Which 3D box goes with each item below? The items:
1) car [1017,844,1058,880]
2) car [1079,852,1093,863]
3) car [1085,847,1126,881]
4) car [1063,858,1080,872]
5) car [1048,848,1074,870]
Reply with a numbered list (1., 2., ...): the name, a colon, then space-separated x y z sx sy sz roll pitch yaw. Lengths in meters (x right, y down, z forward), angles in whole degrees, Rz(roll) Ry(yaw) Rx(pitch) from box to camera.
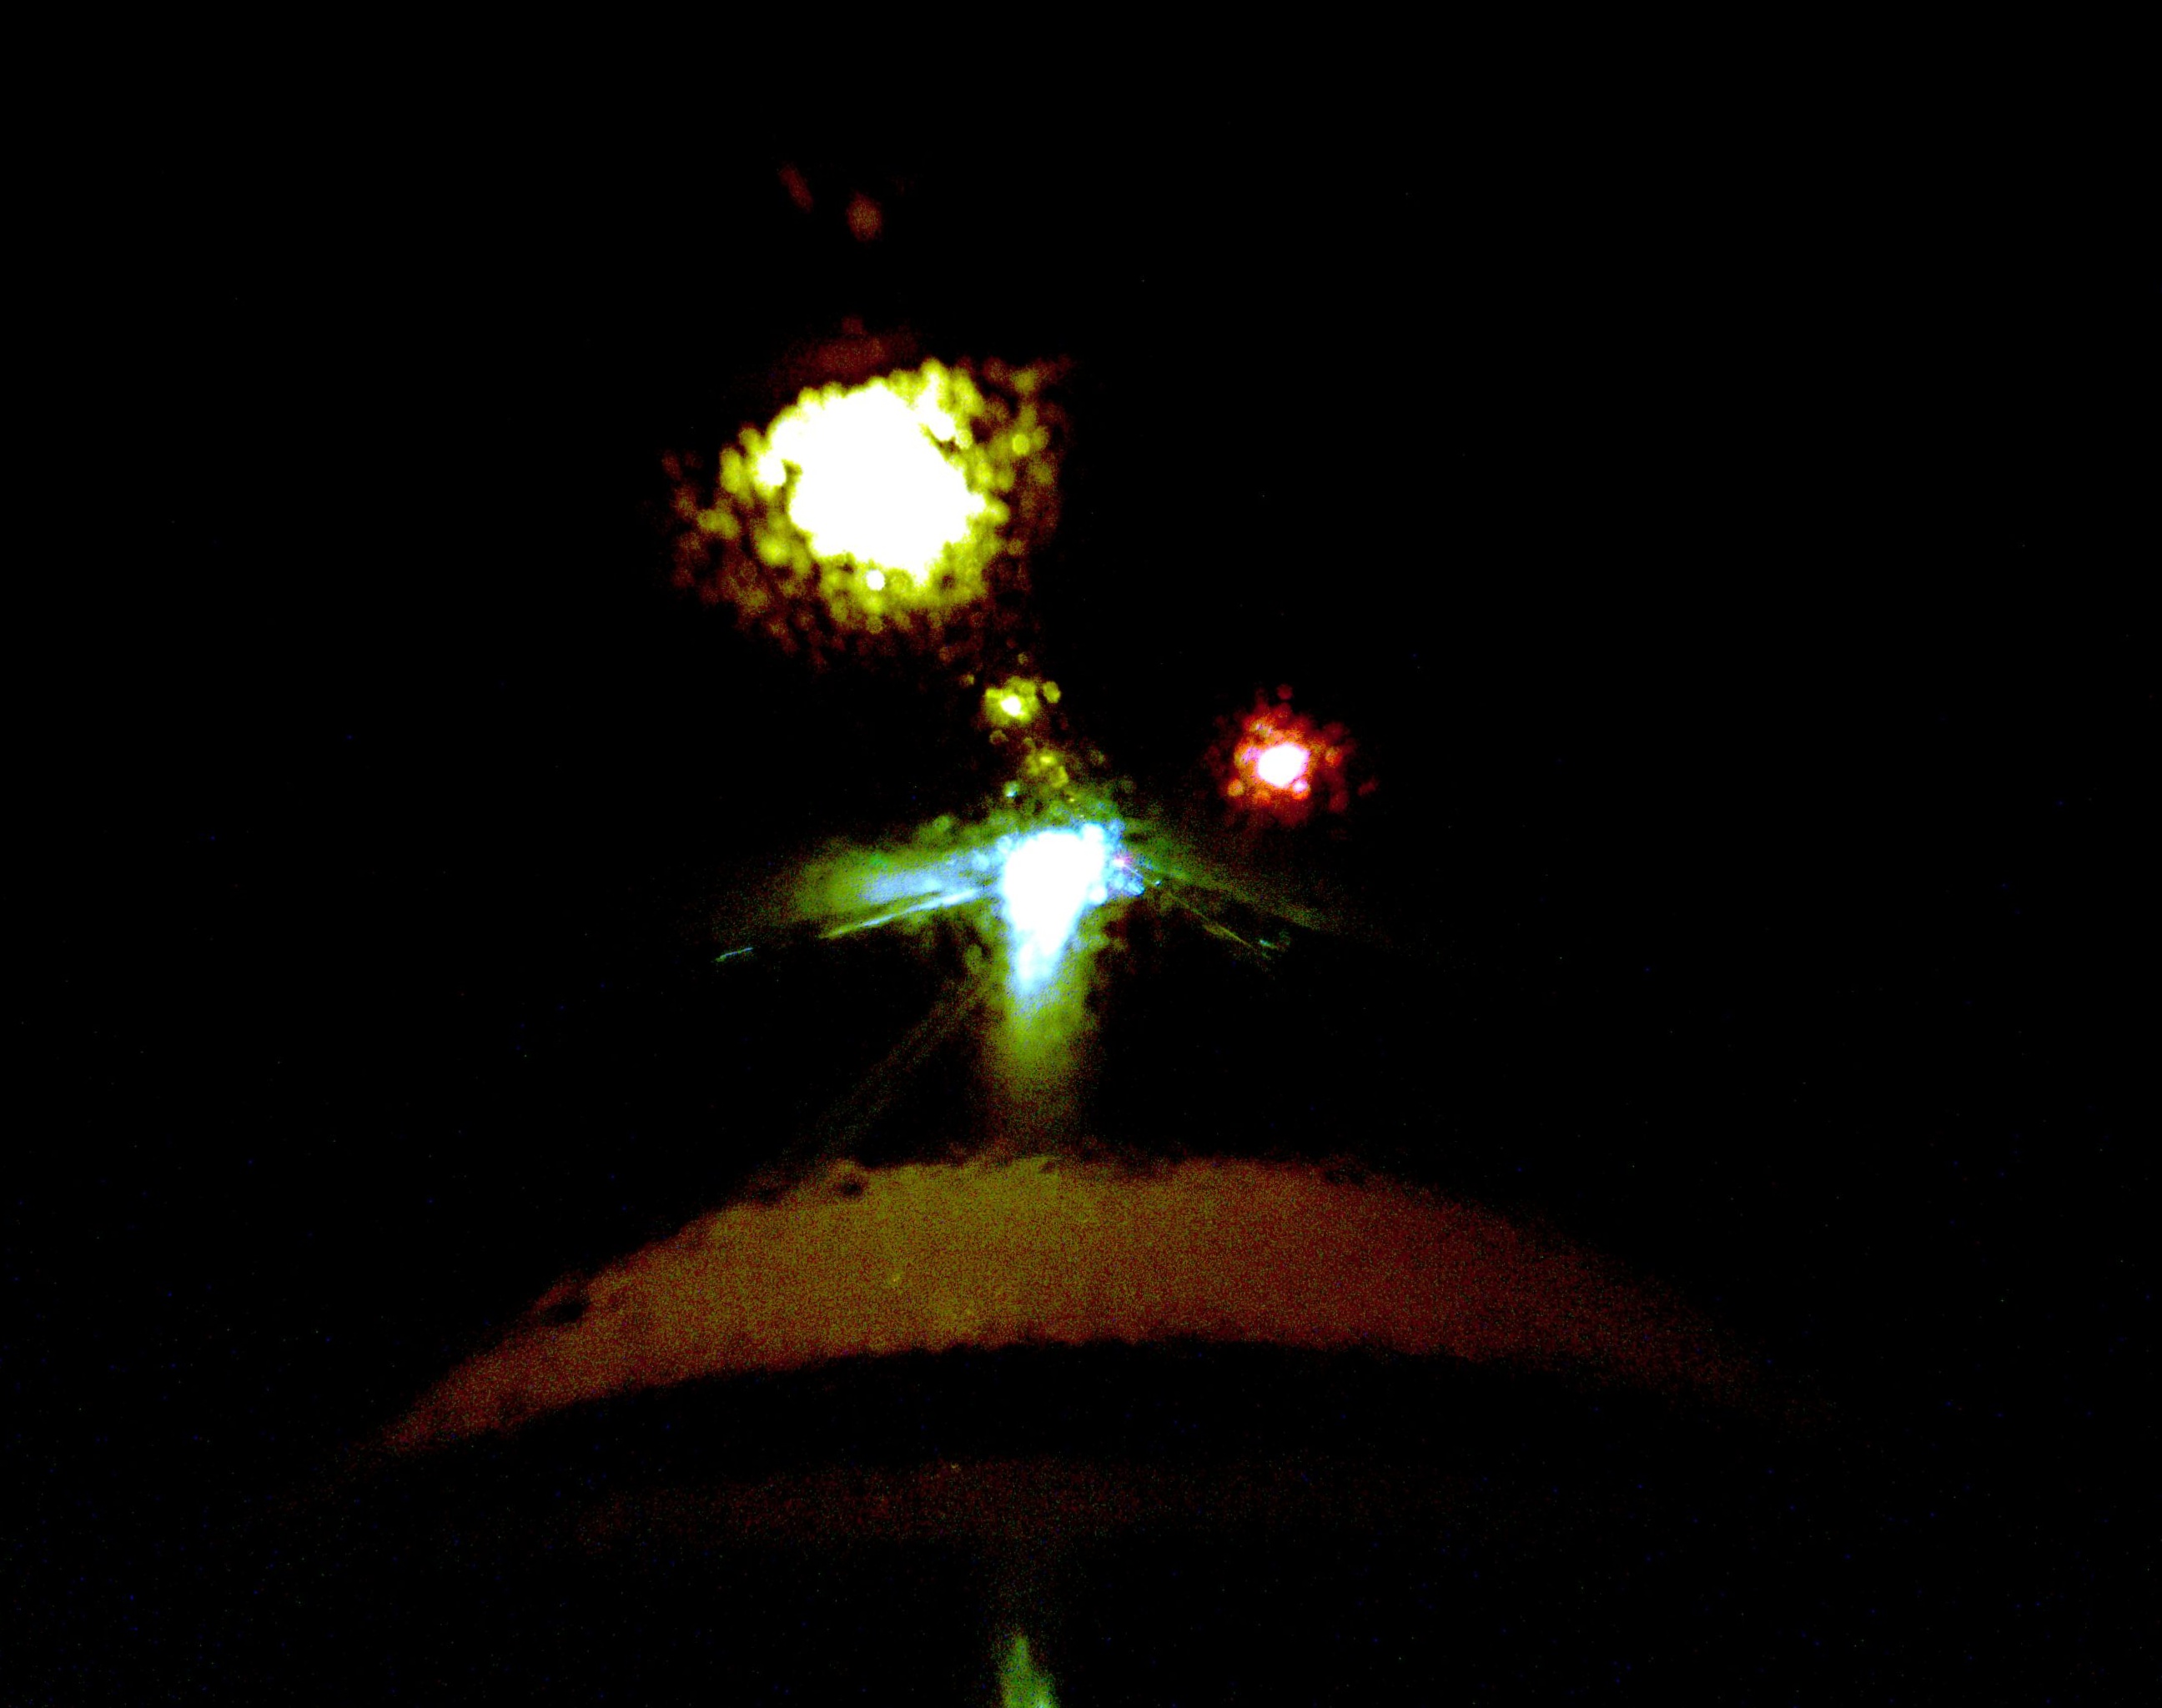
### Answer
1. car: -2.195 0.365 41.868 1.662 1.647 3.908 -4 1 2
2. car: 0.793 0.517 127.209 1.986 1.709 4.282 -1 0 1
3. car: 1.309 0.521 43.765 2.082 1.662 4.001 -1 0 1
4. car: -0.998 1.236 88.969 1.684 1.422 3.626 -2 0 2
5. car: -1.481 0.352 61.500 1.694 1.555 3.874 -1 0 2
